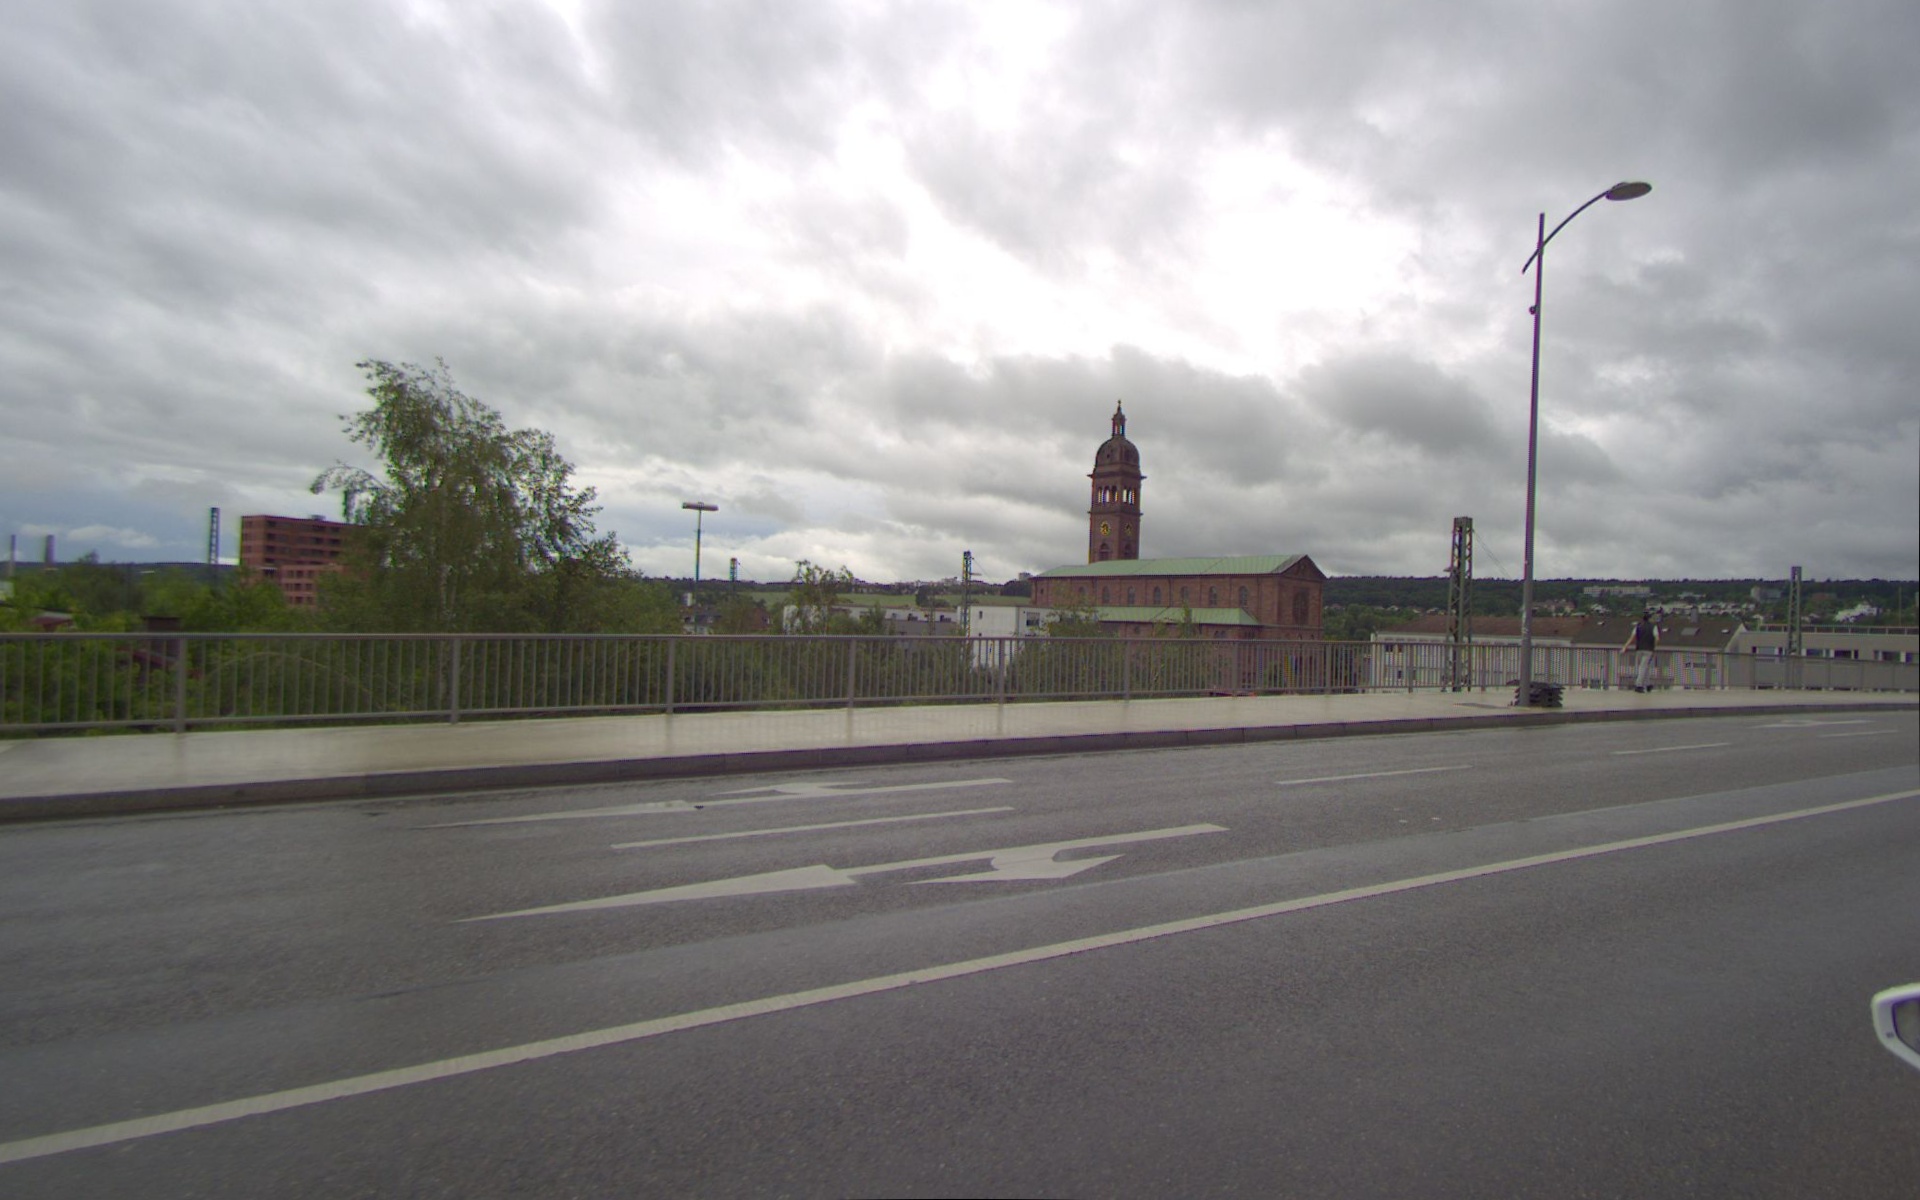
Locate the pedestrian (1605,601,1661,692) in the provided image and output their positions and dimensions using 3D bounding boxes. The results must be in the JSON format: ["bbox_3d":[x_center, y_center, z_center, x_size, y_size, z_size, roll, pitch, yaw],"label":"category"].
[{"bbox_3d":[15.805,1.086,23.578,0.881,2.075,0.753,2,-1,-30],"label":"pedestrian"}]
